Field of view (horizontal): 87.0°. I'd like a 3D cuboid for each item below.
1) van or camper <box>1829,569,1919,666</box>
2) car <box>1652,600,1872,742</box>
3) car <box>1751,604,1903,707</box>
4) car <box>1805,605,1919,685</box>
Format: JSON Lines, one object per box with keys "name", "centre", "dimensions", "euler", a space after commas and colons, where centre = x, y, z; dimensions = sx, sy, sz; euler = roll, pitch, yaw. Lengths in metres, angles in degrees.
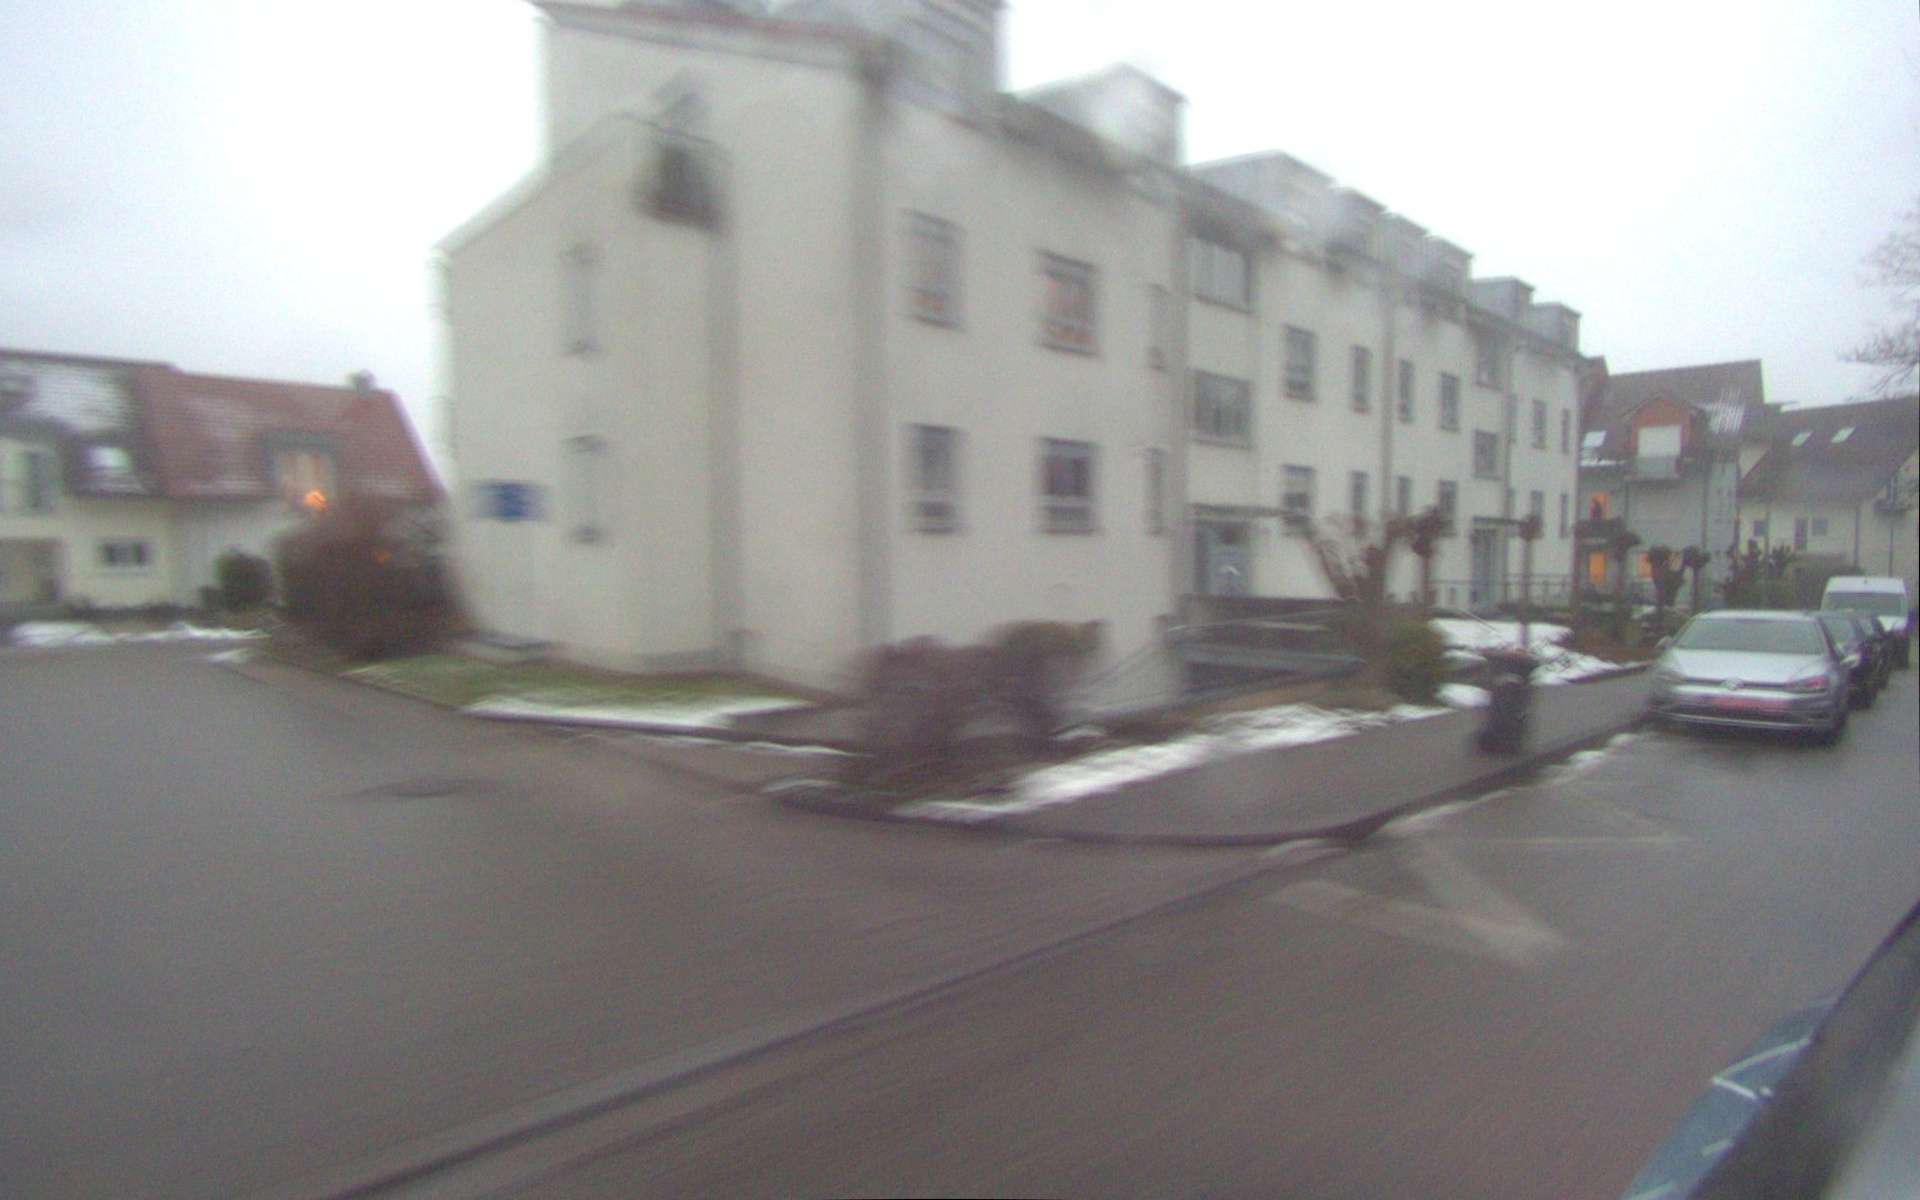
{"name": "van or camper", "centre": [27.167, 0.475, 29.827], "dimensions": [2.014, 2.539, 6.686], "euler": [3, 2, 43]}
{"name": "car", "centre": [10.078, 0.728, 12.580], "dimensions": [1.738, 1.447, 4.386], "euler": [0, 0, 44]}
{"name": "car", "centre": [14.372, 0.808, 16.686], "dimensions": [1.655, 1.447, 4.491], "euler": [0, 0, 44]}
{"name": "car", "centre": [18.963, 0.852, 21.149], "dimensions": [1.656, 1.407, 4.460], "euler": [3, 2, 44]}
